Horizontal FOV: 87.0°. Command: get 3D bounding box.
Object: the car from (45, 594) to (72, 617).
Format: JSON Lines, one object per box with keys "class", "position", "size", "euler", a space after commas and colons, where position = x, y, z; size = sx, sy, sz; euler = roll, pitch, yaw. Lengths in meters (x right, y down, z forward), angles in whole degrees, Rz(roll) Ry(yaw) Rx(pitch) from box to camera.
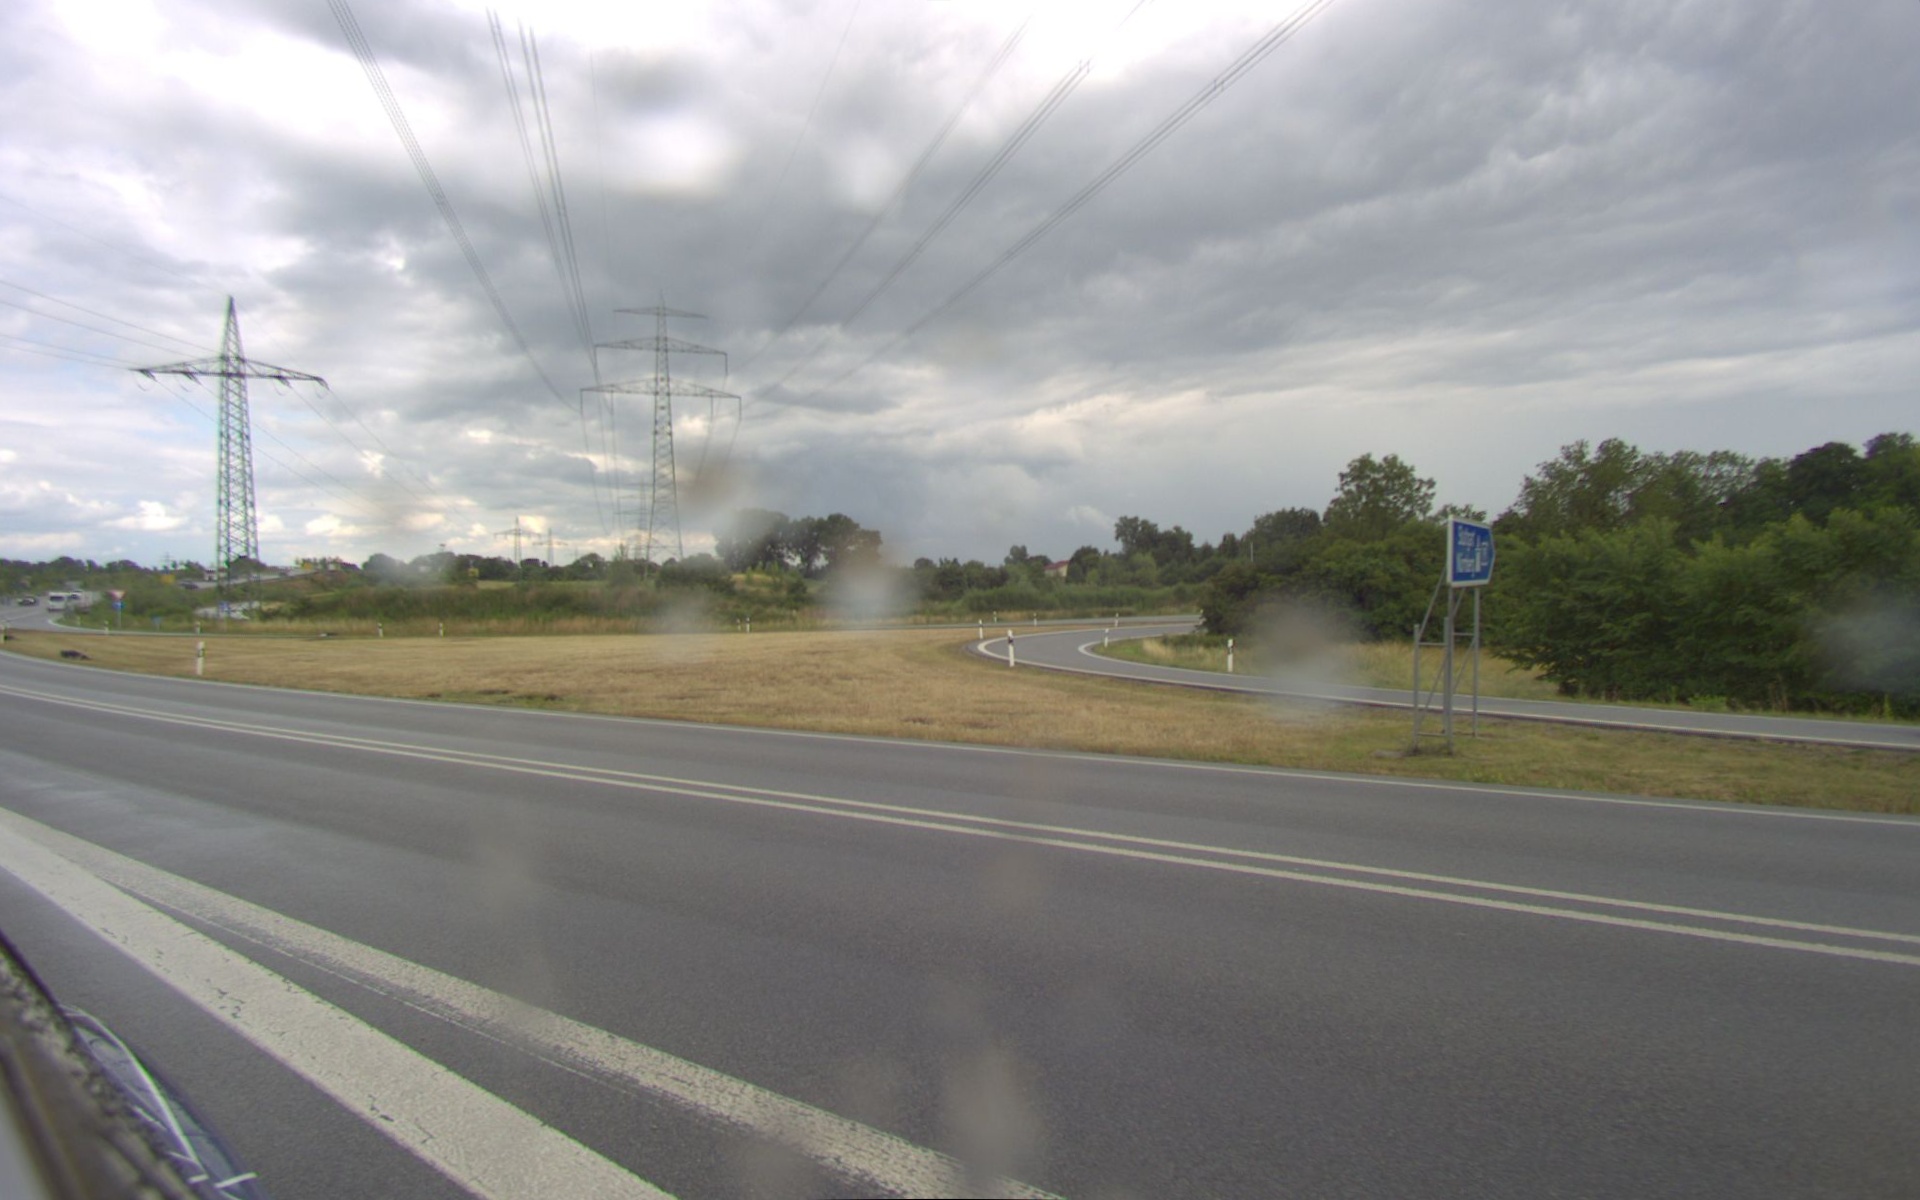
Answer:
{"class": "car", "position": [-123.886, 0.700, 139.189], "size": [2.178, 2.769, 6.036], "euler": [-2, 4, -37]}
